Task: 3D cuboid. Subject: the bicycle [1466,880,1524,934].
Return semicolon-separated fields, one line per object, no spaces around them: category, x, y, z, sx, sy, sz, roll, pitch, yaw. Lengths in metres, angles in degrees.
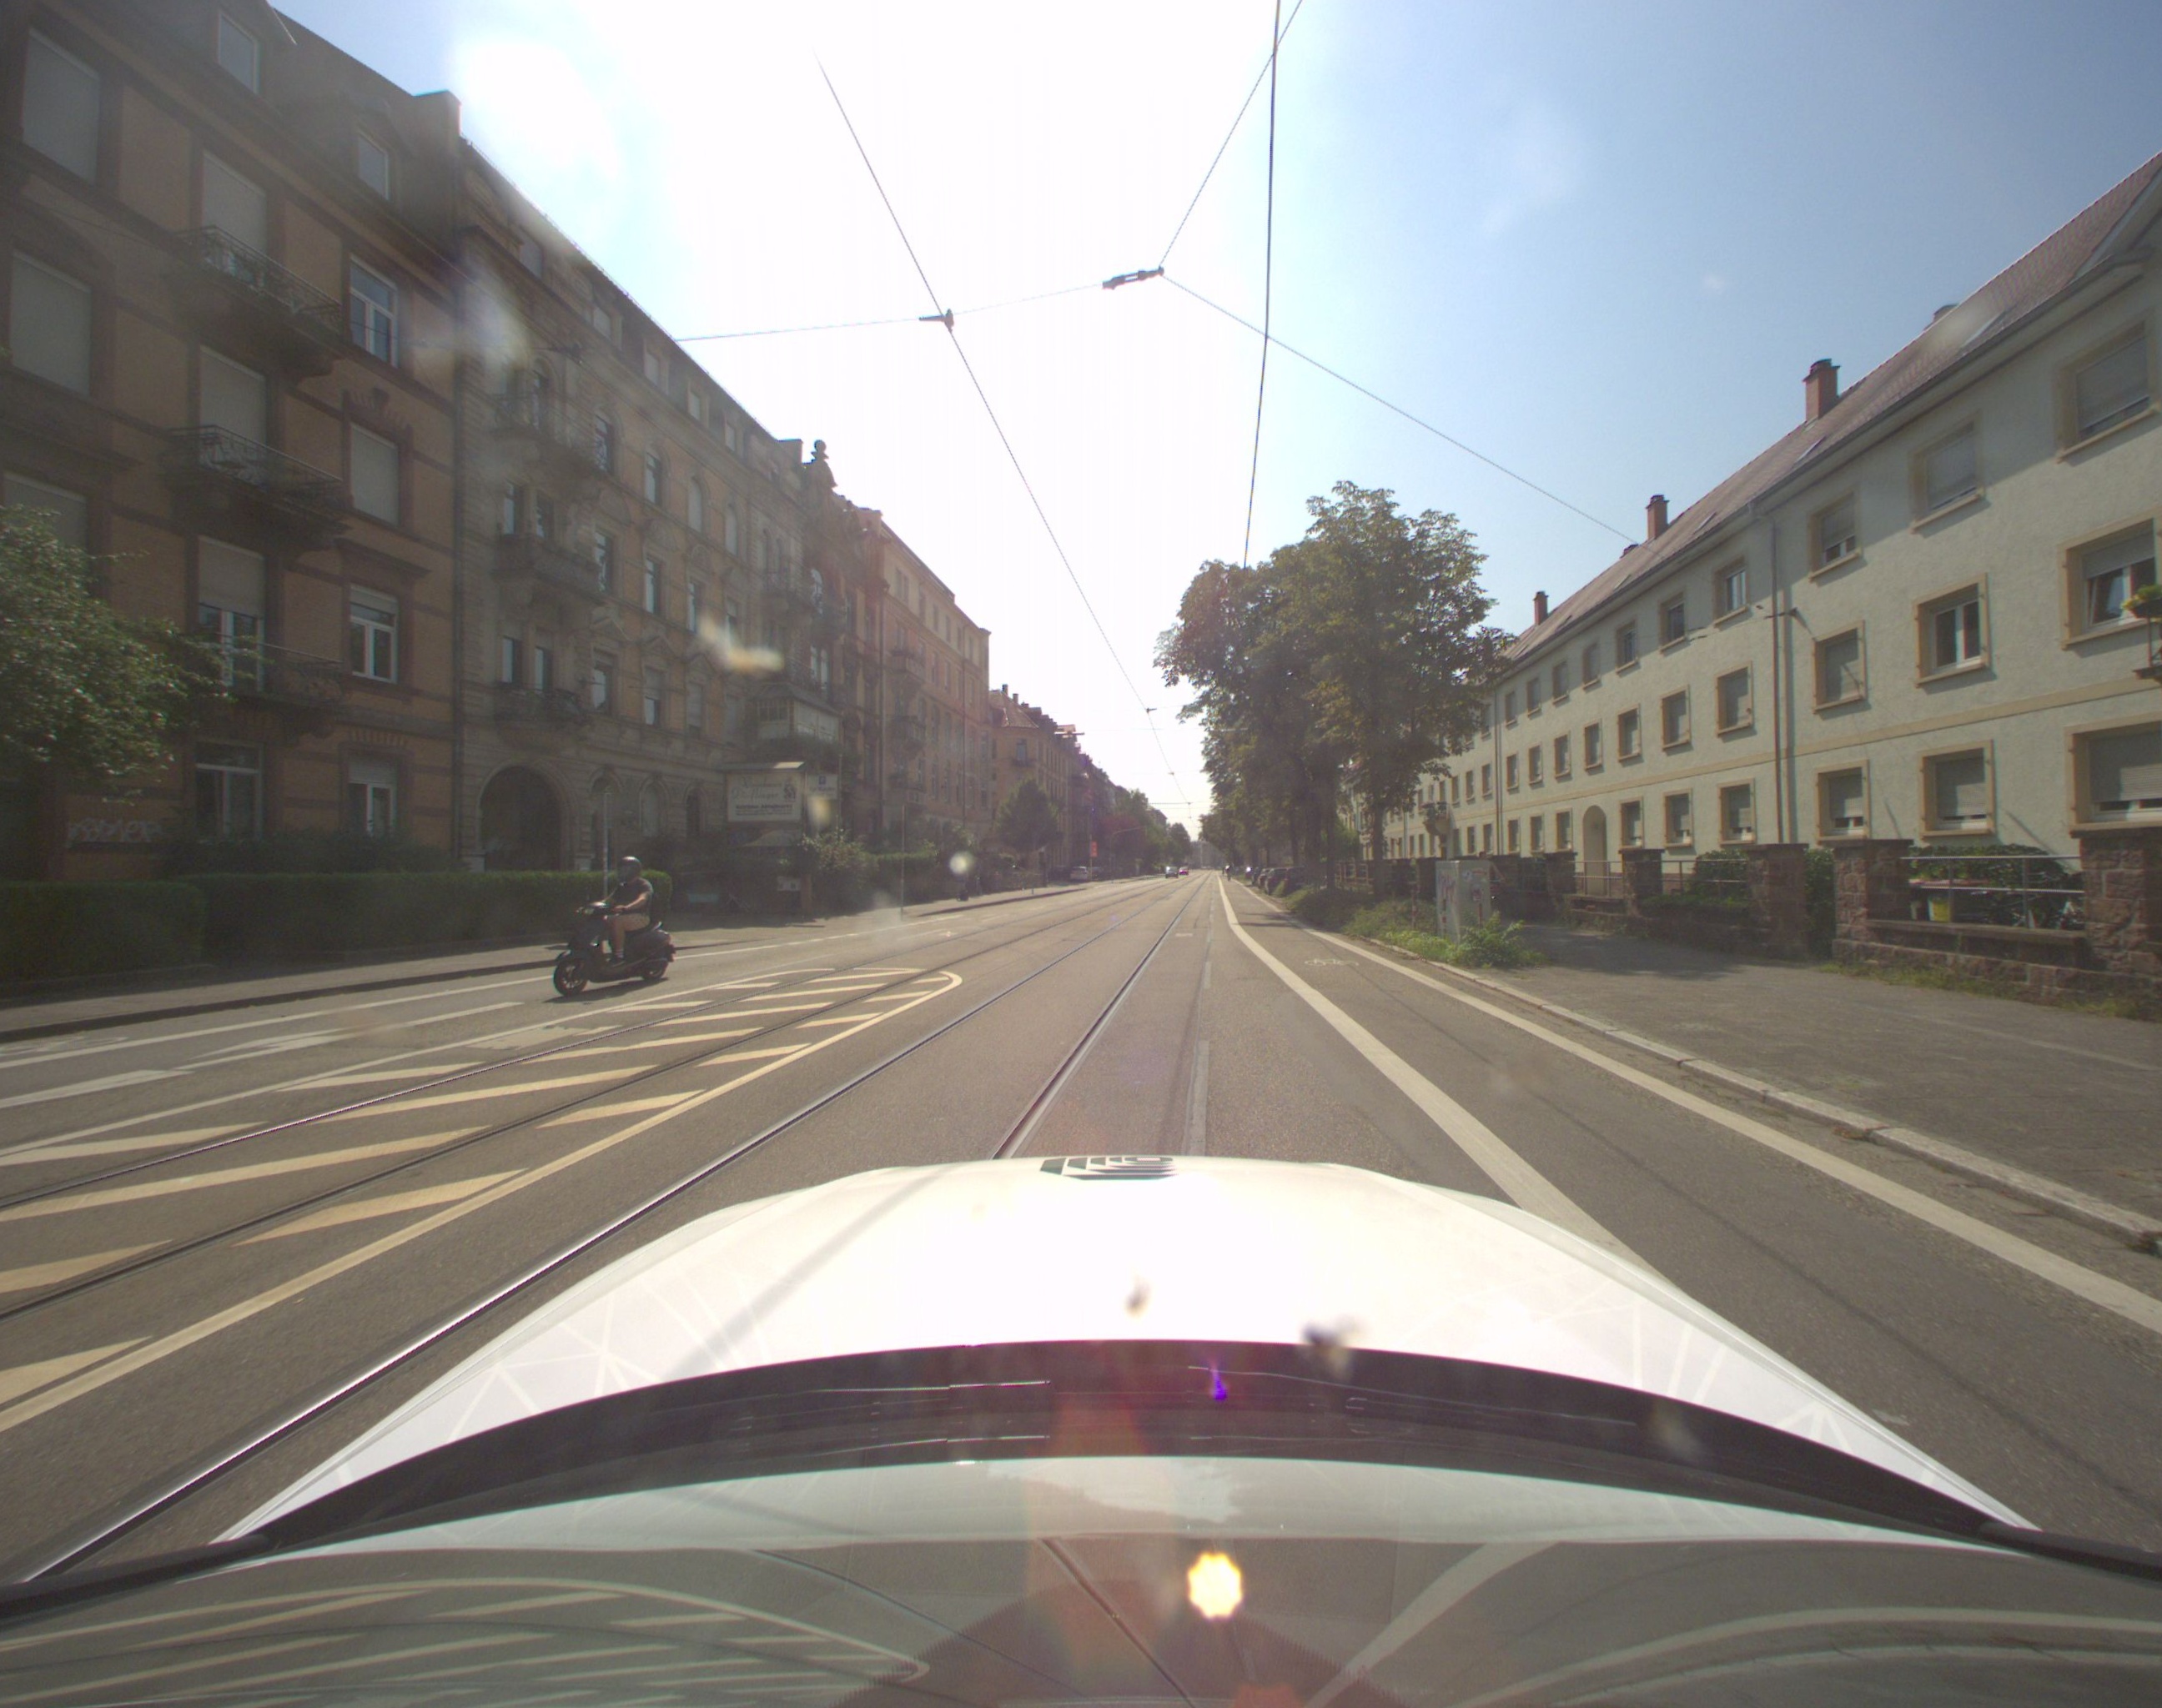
bicycle;8.724;1.087;17.227;0.438;1.047;1.832;-1;-1;6

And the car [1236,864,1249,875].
car;24.260;2.386;122.527;1.830;1.532;4.125;-1;0;9

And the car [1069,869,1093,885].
car;0.037;2.371;83.326;1.983;1.594;4.366;-1;-1;6

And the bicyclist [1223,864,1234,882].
bicyclist;15.171;1.988;83.795;1.118;1.837;0.958;-1;-2;10

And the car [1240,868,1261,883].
car;17.426;2.176;83.789;1.881;1.477;4.852;-1;-1;9

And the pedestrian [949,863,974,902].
pedestrian;-5.400;1.280;36.783;0.878;1.756;0.872;-1;-1;9

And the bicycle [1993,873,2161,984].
bicycle;10.583;0.725;8.399;0.438;1.047;1.832;-1;-1;6

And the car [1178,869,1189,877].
car;18.741;3.421;148.506;1.722;1.490;4.010;-1;-1;9

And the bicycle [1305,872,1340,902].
bicycle;9.273;1.263;31.265;1.395;1.108;0.386;0;-2;-27

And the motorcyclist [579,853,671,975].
motorcyclist;-5.881;0.759;10.540;0.685;1.512;0.775;-1;-1;10

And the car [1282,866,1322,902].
car;10.066;1.349;37.044;1.604;1.530;3.513;-2;-2;16

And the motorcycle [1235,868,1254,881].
motorcycle;21.510;2.679;107.003;0.973;1.540;2.319;1;-4;-39

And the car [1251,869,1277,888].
car;14.797;1.950;66.043;1.745;1.477;4.396;-1;-1;9

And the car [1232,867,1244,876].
car;26.769;3.007;138.897;1.830;1.532;4.791;-2;-2;9

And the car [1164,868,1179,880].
car;12.455;2.698;112.108;1.816;1.540;4.010;-1;-1;9

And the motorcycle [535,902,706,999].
motorcycle;-5.870;1.183;10.567;0.687;1.031;2.163;-1;-1;10

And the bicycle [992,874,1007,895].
bicycle;-4.470;1.665;44.857;0.387;1.148;1.586;-1;-1;10

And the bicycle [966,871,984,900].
bicycle;-5.253;1.570;40.468;0.387;1.406;1.586;-1;-1;10

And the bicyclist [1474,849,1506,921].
bicyclist;8.742;0.659;17.416;0.435;1.512;0.472;-1;-2;6

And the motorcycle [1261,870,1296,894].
motorcycle;12.007;1.702;49.607;1.993;1.368;0.784;-1;-1;6

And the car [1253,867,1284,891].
car;12.785;1.717;55.799;1.745;1.477;4.469;-5;-2;10

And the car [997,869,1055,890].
car;-4.157;1.920;62.006;4.075;1.594;1.884;0;-1;11

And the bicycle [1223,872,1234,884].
bicycle;15.193;2.462;83.851;1.140;1.269;2.720;-1;-1;11

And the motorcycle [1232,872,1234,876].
motorcycle;35.749;4.742;191.324;0.545;1.068;2.336;-1;-2;10

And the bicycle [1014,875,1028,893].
bicycle;-3.732;1.850;50.588;0.387;1.038;1.838;-1;-1;10

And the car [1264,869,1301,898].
car;11.089;1.576;45.028;1.607;1.477;4.049;-2;-1;10

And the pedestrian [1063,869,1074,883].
pedestrian;-1.395;2.470;90.340;0.887;1.511;0.864;0;-1;-22

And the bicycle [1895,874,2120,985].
bicycle;9.753;0.746;8.688;0.438;1.047;1.832;-1;-1;6

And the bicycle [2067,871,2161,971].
bicycle;11.588;0.703;8.526;0.438;1.047;1.832;-1;-1;6

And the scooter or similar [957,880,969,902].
scooter or similar;-5.239;1.638;36.121;0.398;0.982;0.585;1;-2;1
